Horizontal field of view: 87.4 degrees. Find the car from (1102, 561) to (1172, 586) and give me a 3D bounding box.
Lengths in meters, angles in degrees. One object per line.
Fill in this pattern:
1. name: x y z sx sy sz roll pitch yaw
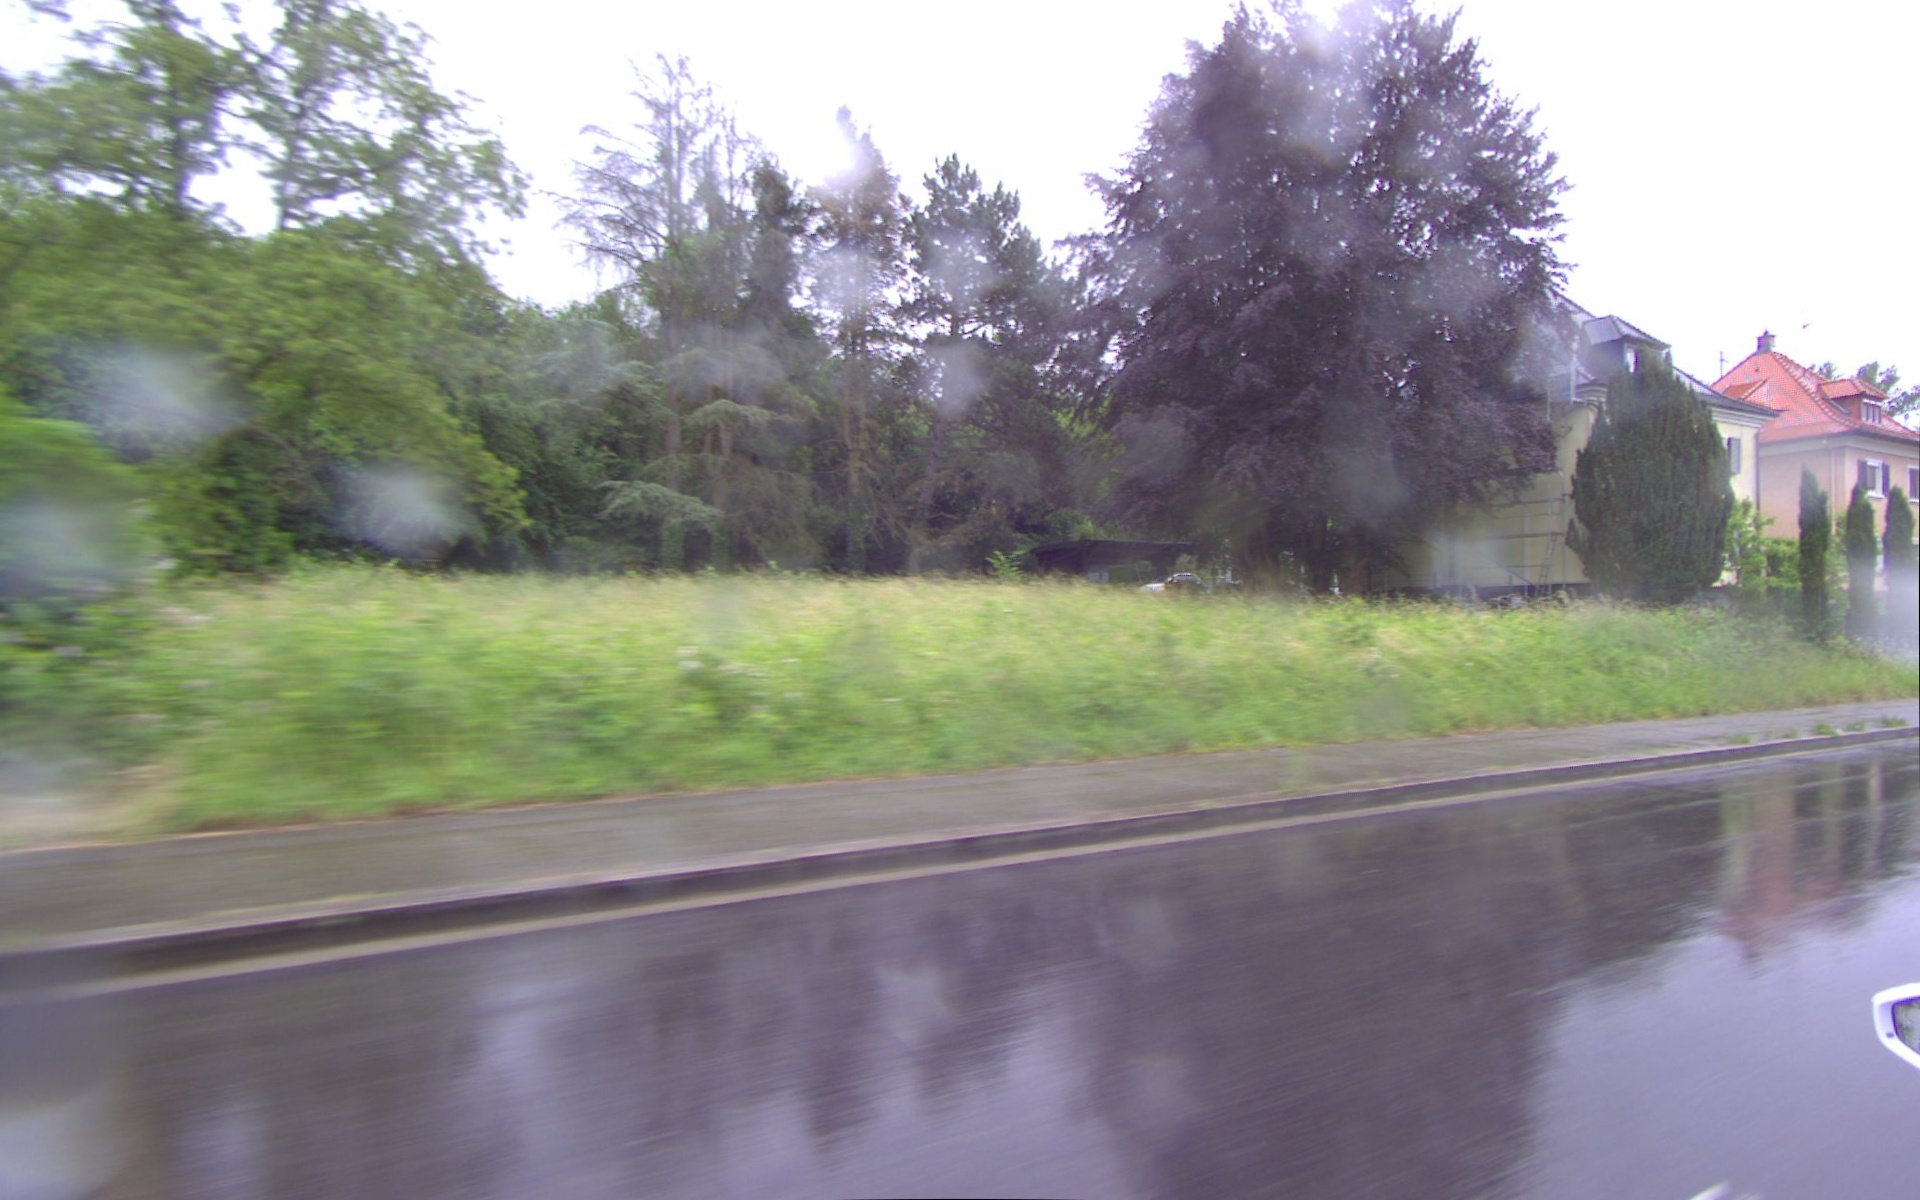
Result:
1. car: 10.235 -1.529 58.239 3.596 1.428 1.794 0 1 -16
